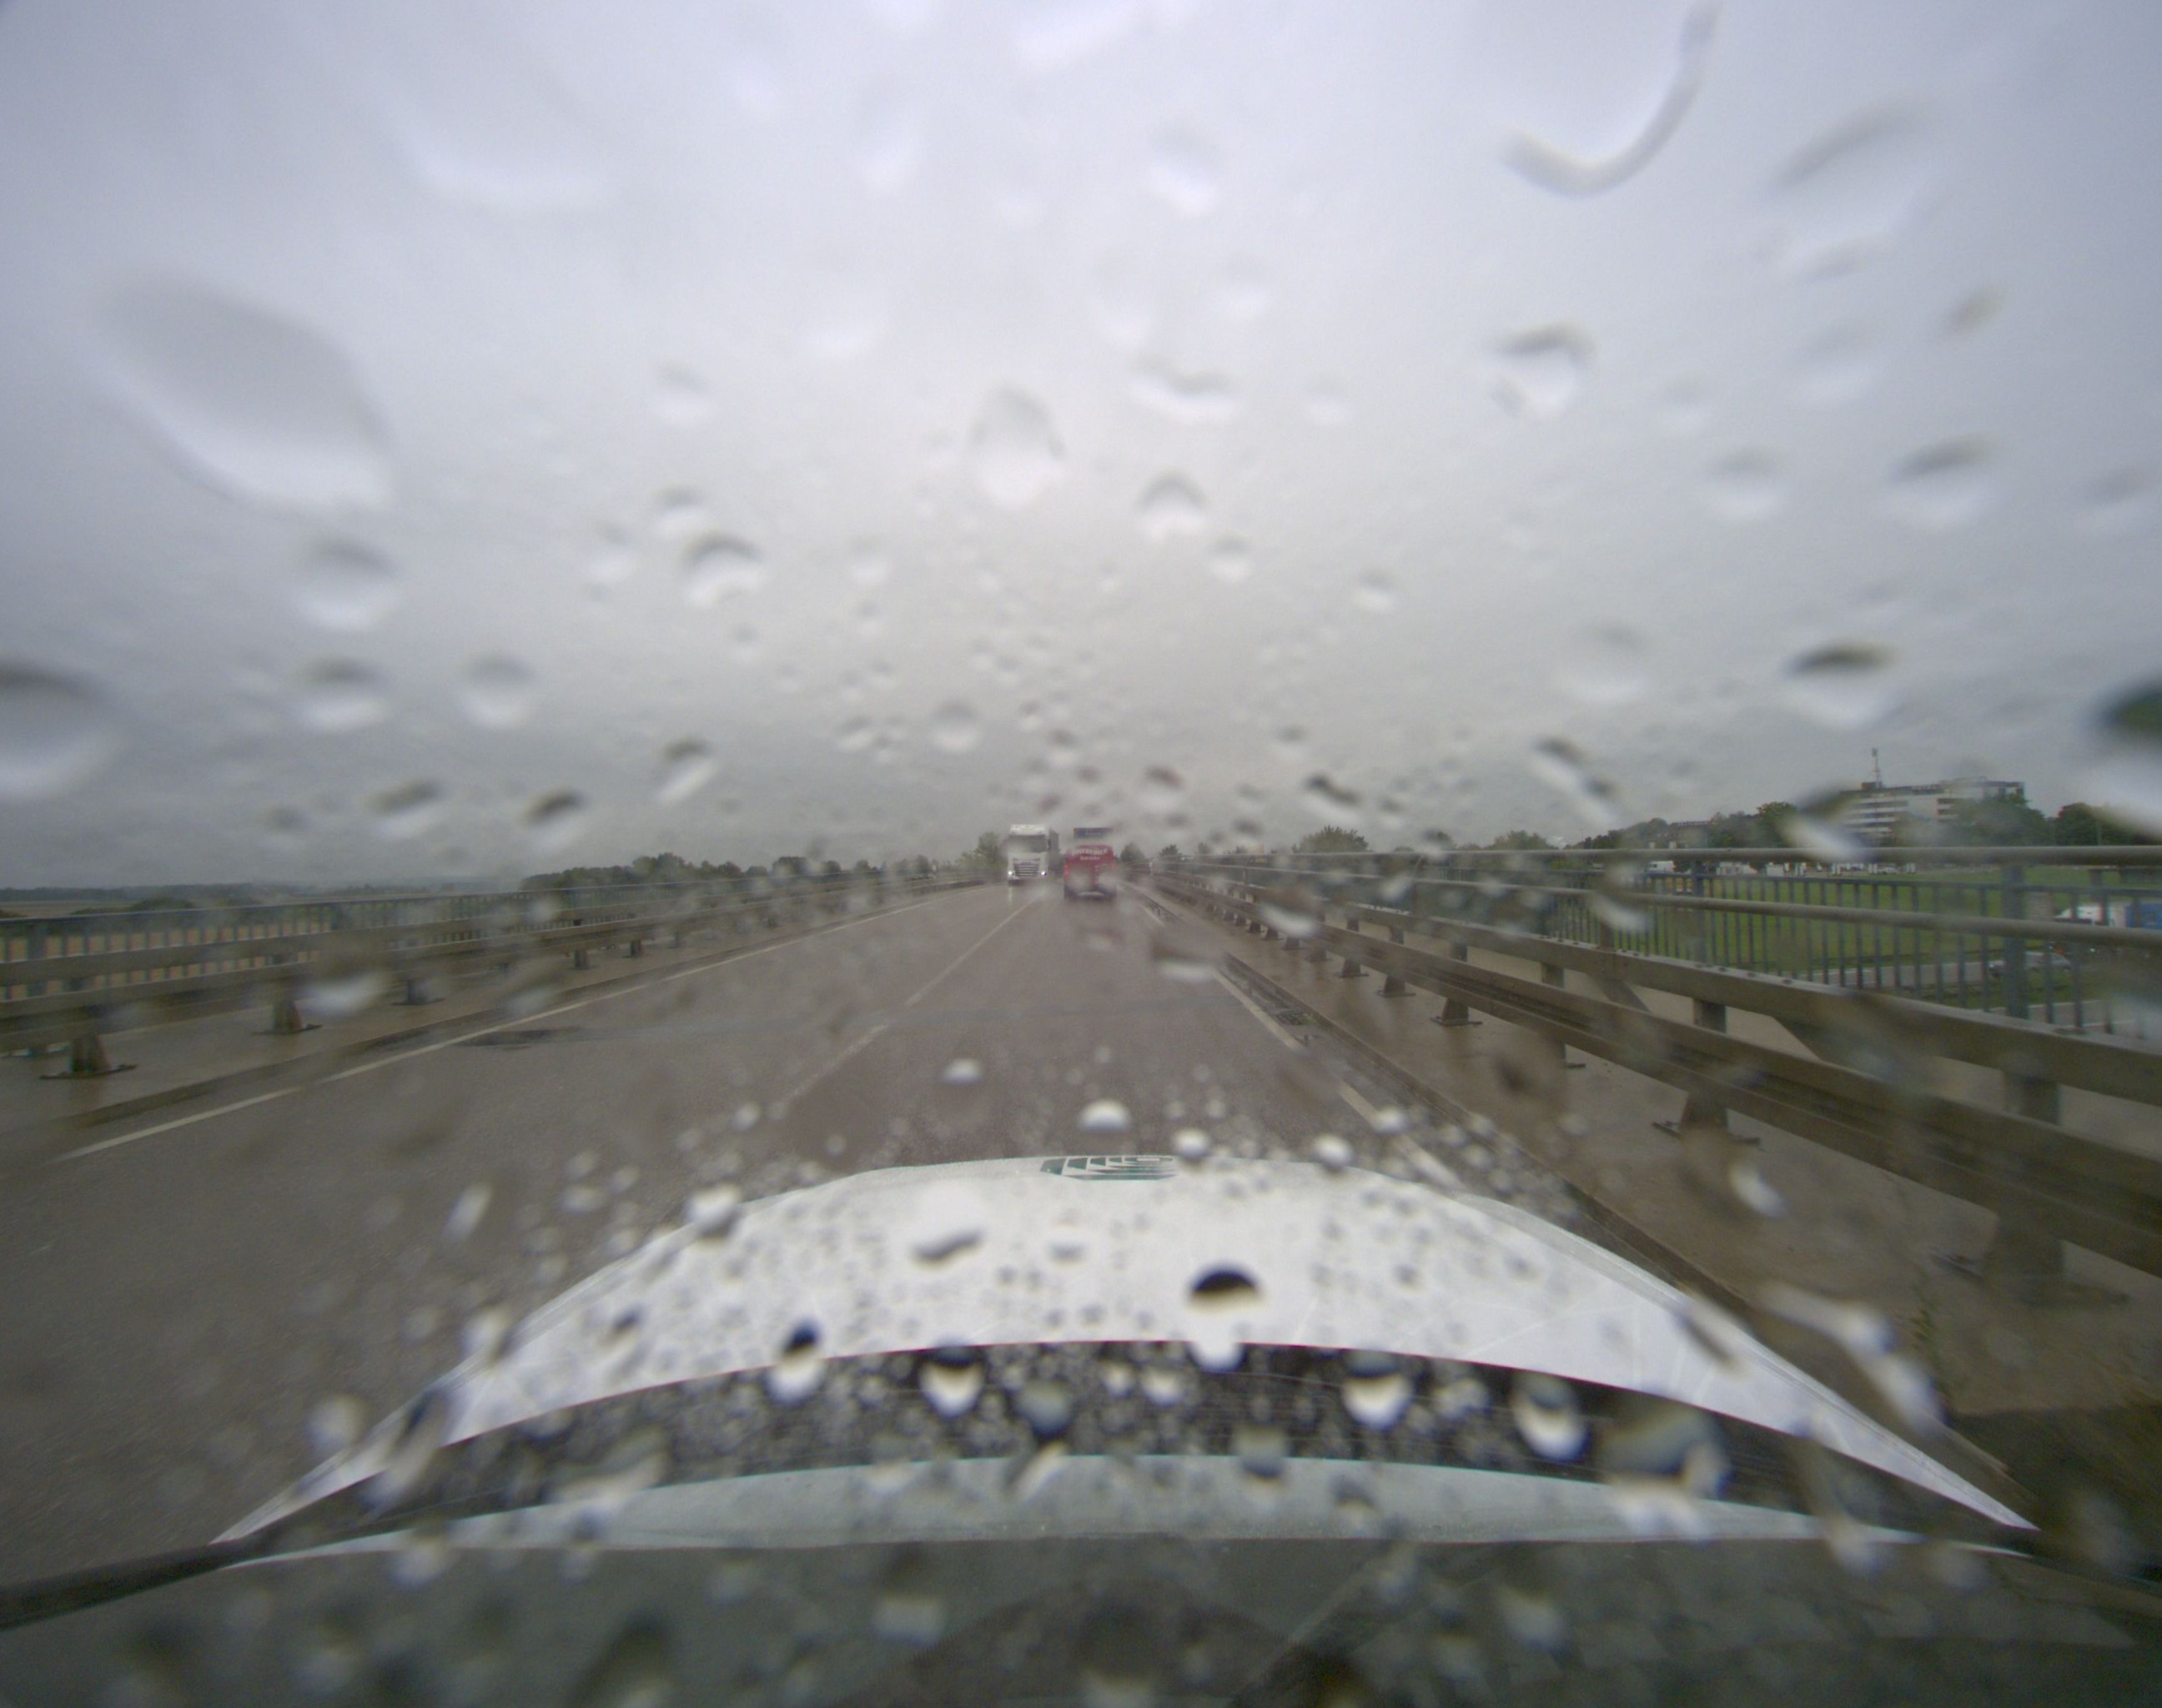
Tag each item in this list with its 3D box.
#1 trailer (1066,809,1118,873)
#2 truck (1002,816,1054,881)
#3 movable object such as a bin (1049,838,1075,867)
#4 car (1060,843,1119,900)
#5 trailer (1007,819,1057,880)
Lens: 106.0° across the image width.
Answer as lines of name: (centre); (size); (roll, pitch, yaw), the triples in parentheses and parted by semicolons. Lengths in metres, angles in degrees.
trailer: (0.844, -0.763, 55.736); (3.189, 3.922, 8.743); (2, -1, 2)
truck: (-3.428, -0.336, 54.871); (2.809, 3.970, 8.762); (-1, 0, 0)
movable object such as a bin: (-2.301, -0.166, 99.857); (2.737, 3.445, 4.646); (-2, -1, 3)
car: (0.276, 0.579, 29.523); (1.987, 1.925, 4.143); (0, 0, 0)
trailer: (-3.419, -0.278, 60.640); (2.809, 3.970, 13.733); (-1, 0, 0)
